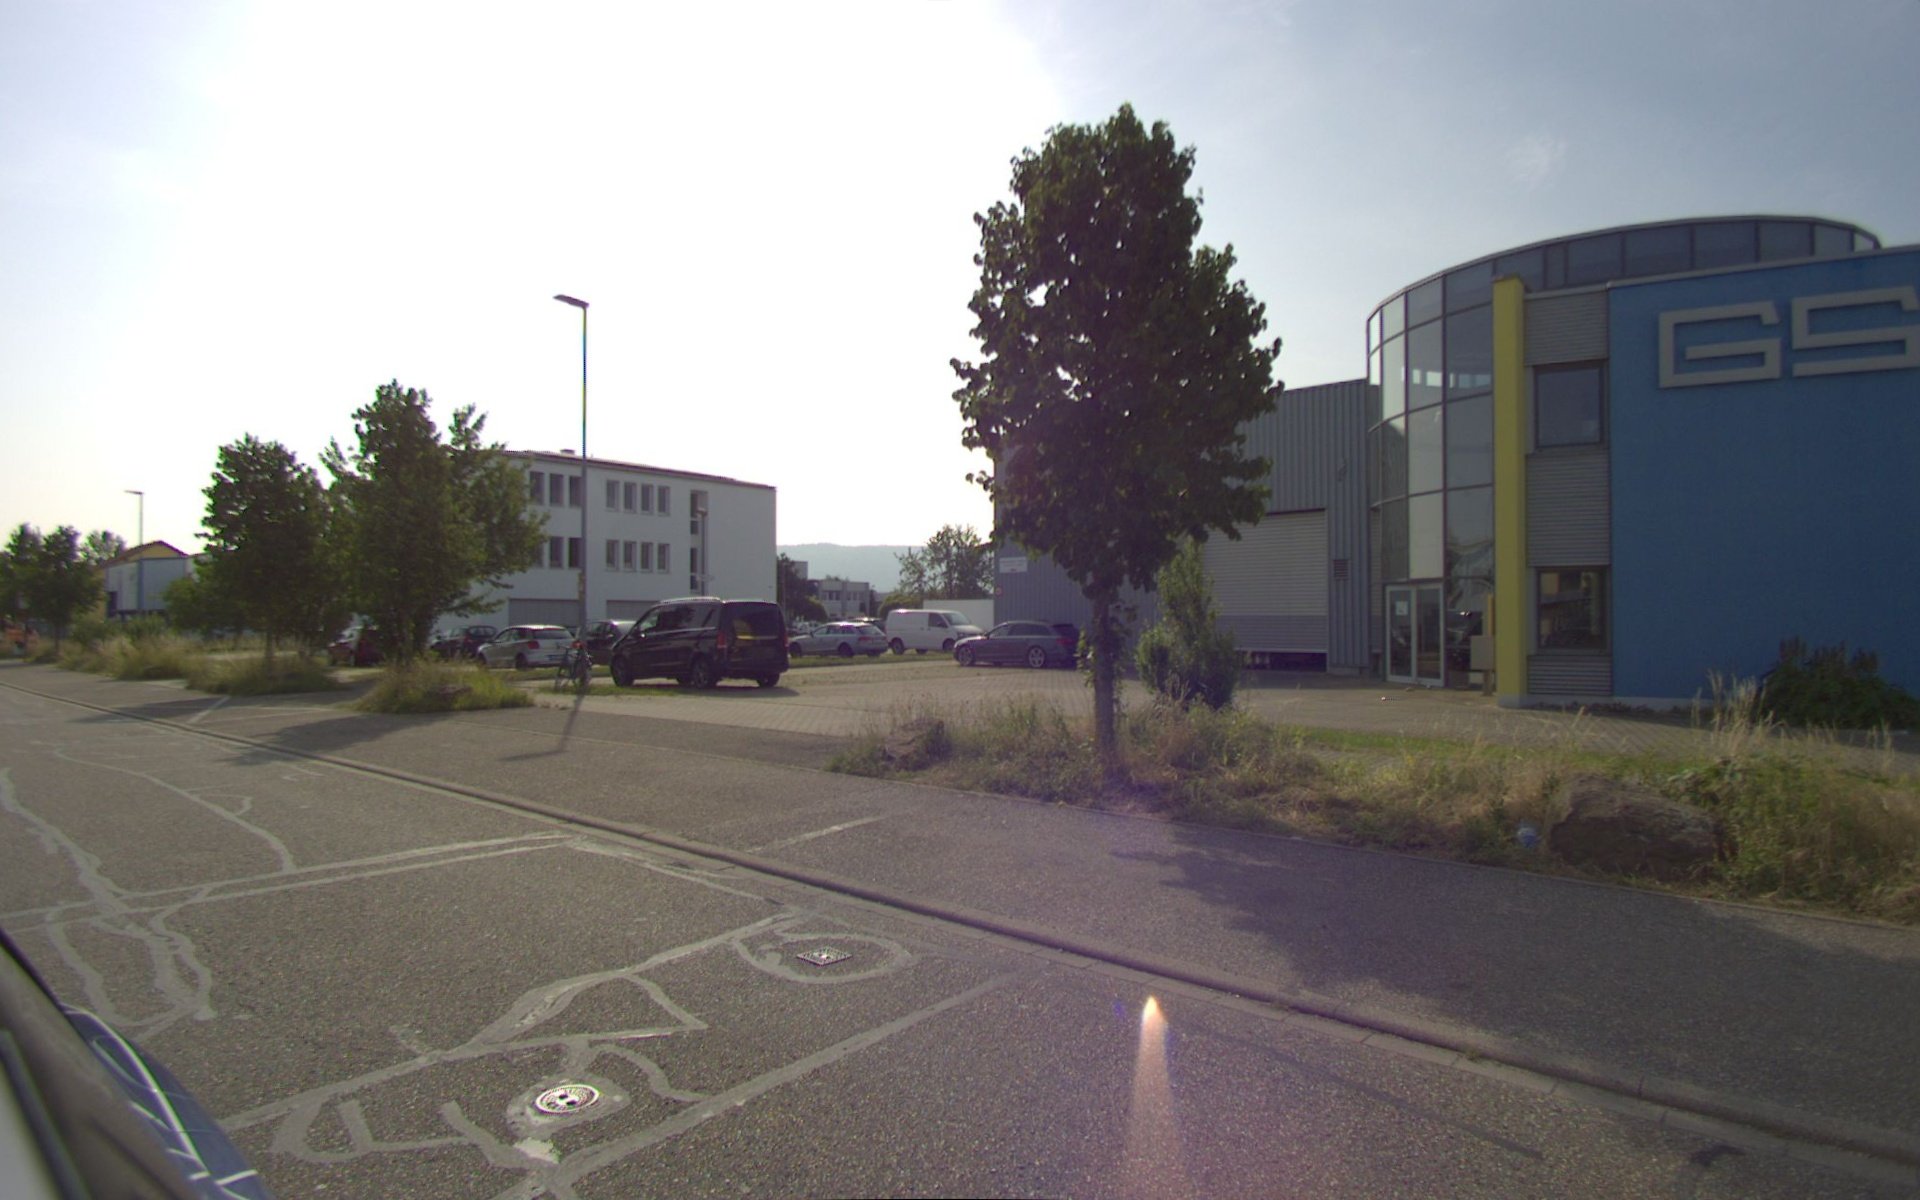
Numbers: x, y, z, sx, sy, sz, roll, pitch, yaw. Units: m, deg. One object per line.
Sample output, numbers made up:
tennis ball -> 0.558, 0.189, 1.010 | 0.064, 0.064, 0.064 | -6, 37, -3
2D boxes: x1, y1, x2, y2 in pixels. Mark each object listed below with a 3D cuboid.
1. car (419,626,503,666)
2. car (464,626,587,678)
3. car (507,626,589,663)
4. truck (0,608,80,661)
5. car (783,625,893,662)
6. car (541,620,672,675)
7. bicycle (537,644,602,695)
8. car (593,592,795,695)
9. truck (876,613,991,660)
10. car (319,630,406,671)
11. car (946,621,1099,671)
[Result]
car -> -20.057, 1.813, 40.628 | 3.917, 1.479, 1.736 | -2, -2, 42
car -> -12.979, 1.507, 30.154 | 3.914, 1.460, 1.768 | -1, -2, 39
car -> -17.654, 1.860, 43.253 | 3.917, 1.479, 1.736 | -2, -2, 42
truck -> -53.868, 1.956, 56.850 | 2.474, 2.855, 8.862 | 2, -3, -11
car -> -4.831, 1.686, 39.873 | 4.376, 1.383, 1.715 | -1, -2, 38
car -> -11.177, 1.460, 31.879 | 4.506, 1.619, 1.922 | -2, -2, 41
bicycle -> -8.059, 1.412, 20.833 | 0.534, 0.986, 1.871 | 1, -2, -45
car -> -5.999, 0.949, 22.472 | 4.988, 2.029, 1.862 | -2, -3, 41
truck -> -1.200, 1.576, 44.203 | 4.946, 1.918, 1.974 | -1, -2, 38
car -> -22.463, 1.852, 37.994 | 3.917, 1.420, 1.736 | -2, -2, 42
car -> 1.909, 1.426, 32.007 | 4.779, 1.472, 1.697 | -2, -2, 41
